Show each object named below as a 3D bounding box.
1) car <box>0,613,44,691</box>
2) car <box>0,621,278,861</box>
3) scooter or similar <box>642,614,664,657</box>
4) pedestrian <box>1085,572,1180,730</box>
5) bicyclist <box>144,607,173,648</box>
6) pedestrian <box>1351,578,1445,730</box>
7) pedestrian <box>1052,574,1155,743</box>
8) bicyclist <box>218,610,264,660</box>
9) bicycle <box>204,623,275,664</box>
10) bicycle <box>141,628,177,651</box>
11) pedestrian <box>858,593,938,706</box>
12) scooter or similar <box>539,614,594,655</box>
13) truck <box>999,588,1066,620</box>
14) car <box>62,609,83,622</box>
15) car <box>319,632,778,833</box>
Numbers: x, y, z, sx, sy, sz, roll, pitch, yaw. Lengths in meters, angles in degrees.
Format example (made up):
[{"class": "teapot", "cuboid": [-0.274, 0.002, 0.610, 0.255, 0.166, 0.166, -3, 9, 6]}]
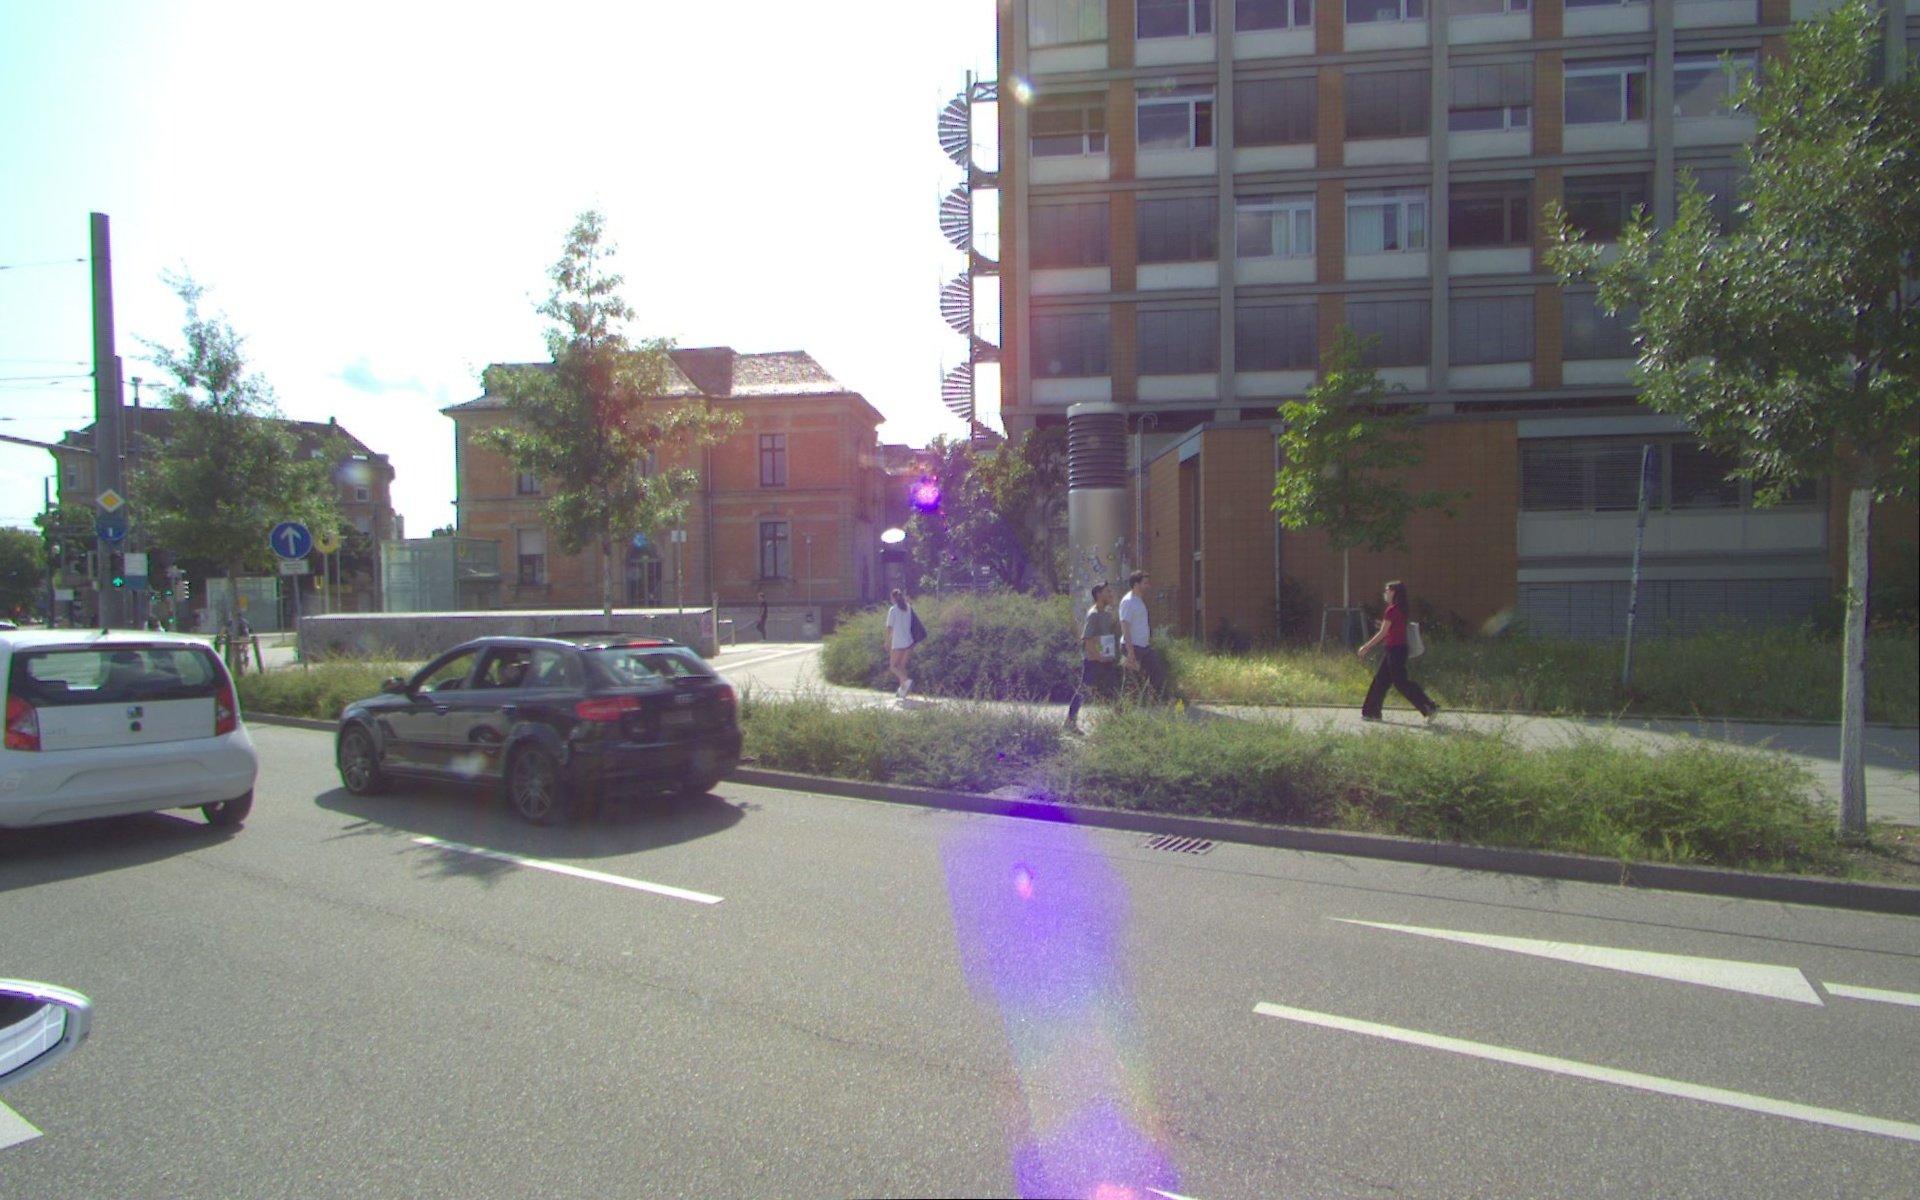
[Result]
[{"class": "car", "cuboid": [-22.134, 1.152, 22.417, 3.952, 1.673, 1.829, -2, -1, 39]}, {"class": "car", "cuboid": [-7.194, 0.901, 7.793, 3.941, 1.440, 1.646, -1, 0, 31]}, {"class": "scooter or similar", "cuboid": [-8.343, 0.947, 27.234, 0.457, 1.119, 1.316, -1, 1, -13]}, {"class": "pedestrian", "cuboid": [2.040, 0.581, 11.785, 0.876, 1.770, 0.741, -1, 3, 28]}, {"class": "bicyclist", "cuboid": [-29.175, 1.012, 36.446, 0.764, 1.470, 0.606, 0, 0, 35]}, {"class": "pedestrian", "cuboid": [4.979, 0.590, 11.382, 0.877, 1.645, 0.612, -1, 3, 32]}, {"class": "pedestrian", "cuboid": [1.594, 0.621, 11.086, 0.876, 1.778, 0.741, -1, 3, 28]}, {"class": "bicyclist", "cuboid": [-18.693, 0.900, 26.029, 0.911, 1.237, 0.633, 0, 3, 33]}, {"class": "bicycle", "cuboid": [-18.775, 1.109, 26.091, 1.934, 0.983, 0.844, -1, 3, 34]}, {"class": "bicycle", "cuboid": [-29.173, 1.433, 36.472, 1.599, 0.786, 0.583, -1, 0, 34]}, {"class": "pedestrian", "cuboid": [-0.958, 0.736, 15.416, 1.085, 1.645, 0.610, 0, 3, 44]}, {"class": "scooter or similar", "cuboid": [-11.254, 0.989, 28.612, 1.420, 1.133, 0.465, 0, 2, 13]}, {"class": "truck", "cuboid": [4.914, 0.285, 67.494, 4.304, 2.039, 2.000, 0, -2, 11]}, {"class": "car", "cuboid": [-116.111, 1.991, 131.024, 1.820, 1.673, 3.971, 0, -1, -37]}, {"class": "car", "cuboid": [-3.691, 0.977, 8.774, 4.074, 1.390, 1.696, -1, -1, 32]}]
